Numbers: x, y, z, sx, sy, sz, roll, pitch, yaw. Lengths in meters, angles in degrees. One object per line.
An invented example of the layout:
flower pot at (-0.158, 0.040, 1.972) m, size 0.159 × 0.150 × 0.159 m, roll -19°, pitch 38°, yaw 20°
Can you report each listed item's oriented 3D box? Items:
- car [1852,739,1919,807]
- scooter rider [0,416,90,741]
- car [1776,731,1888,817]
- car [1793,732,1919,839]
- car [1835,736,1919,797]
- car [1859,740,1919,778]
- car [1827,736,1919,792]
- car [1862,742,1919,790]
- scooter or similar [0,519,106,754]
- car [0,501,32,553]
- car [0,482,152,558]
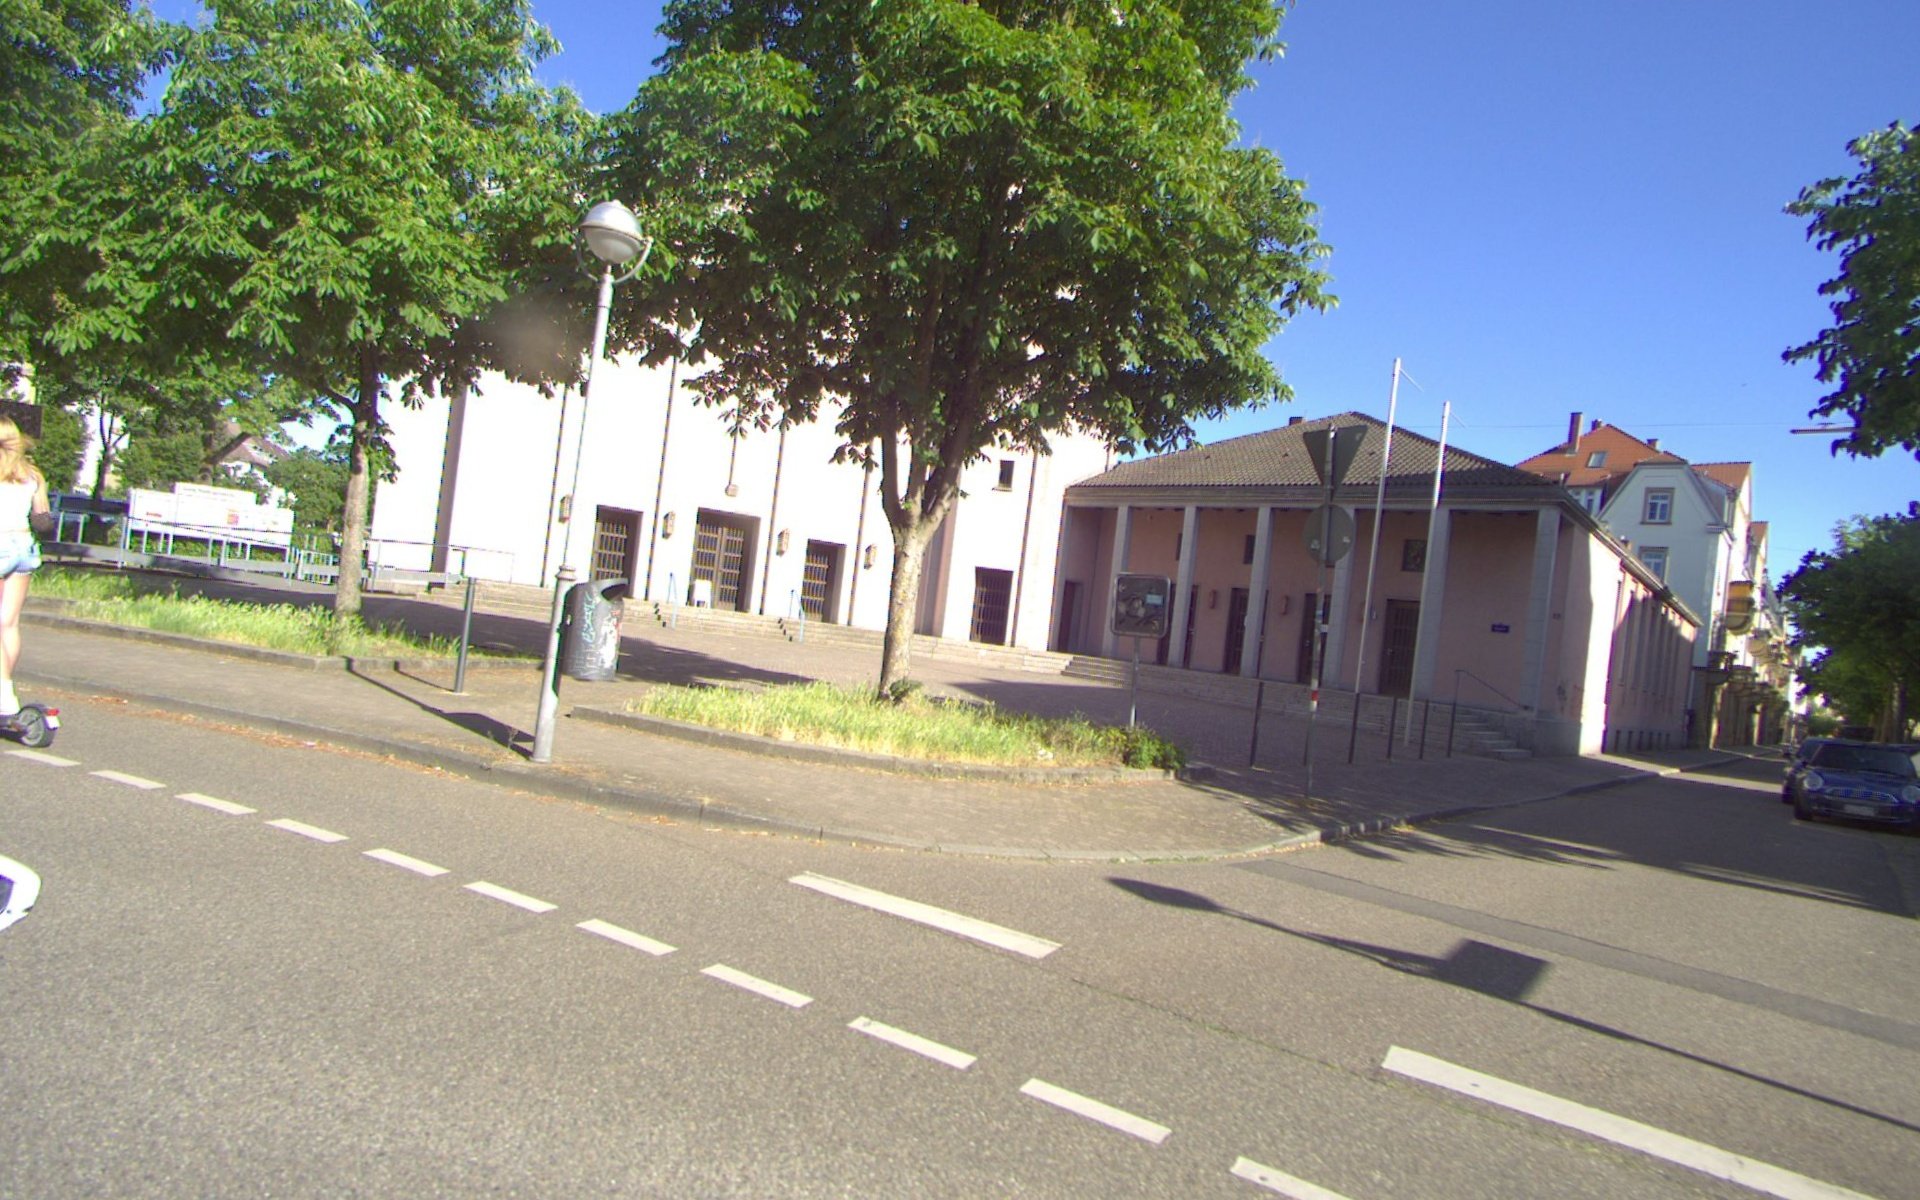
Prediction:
car at (25.563, 4.644, 25.575) m, size 1.733 × 1.514 × 3.948 m, roll 7°, pitch -1°, yaw -12°
scooter rider at (-5.756, -0.141, 5.871) m, size 0.620 × 1.854 × 0.626 m, roll 7°, pitch 0°, yaw 16°
car at (18.536, 3.633, 21.346) m, size 1.593 × 1.438 × 3.596 m, roll 5°, pitch -3°, yaw 43°
car at (15.668, 3.142, 17.465) m, size 1.593 × 1.438 × 3.596 m, roll 5°, pitch -3°, yaw 43°
car at (29.810, 5.300, 31.008) m, size 1.733 × 1.514 × 3.948 m, roll 7°, pitch -1°, yaw -12°
car at (49.734, 8.420, 52.381) m, size 1.737 × 1.514 × 3.938 m, roll 7°, pitch -1°, yaw -21°
car at (33.626, 5.936, 35.721) m, size 1.733 × 1.514 × 3.948 m, roll 7°, pitch -1°, yaw -12°
car at (36.025, 6.315, 36.947) m, size 1.733 × 1.514 × 3.948 m, roll 7°, pitch -1°, yaw -12°
scooter or similar at (-5.795, 0.161, 5.868) m, size 1.085 × 1.298 × 0.633 m, roll 7°, pitch 0°, yaw 16°
car at (-29.280, -2.320, 29.246) m, size 1.786 × 1.491 × 4.319 m, roll 8°, pitch -2°, yaw -21°
car at (-32.582, -2.899, 36.456) m, size 4.729 × 2.024 × 1.797 m, roll 9°, pitch -2°, yaw -29°
